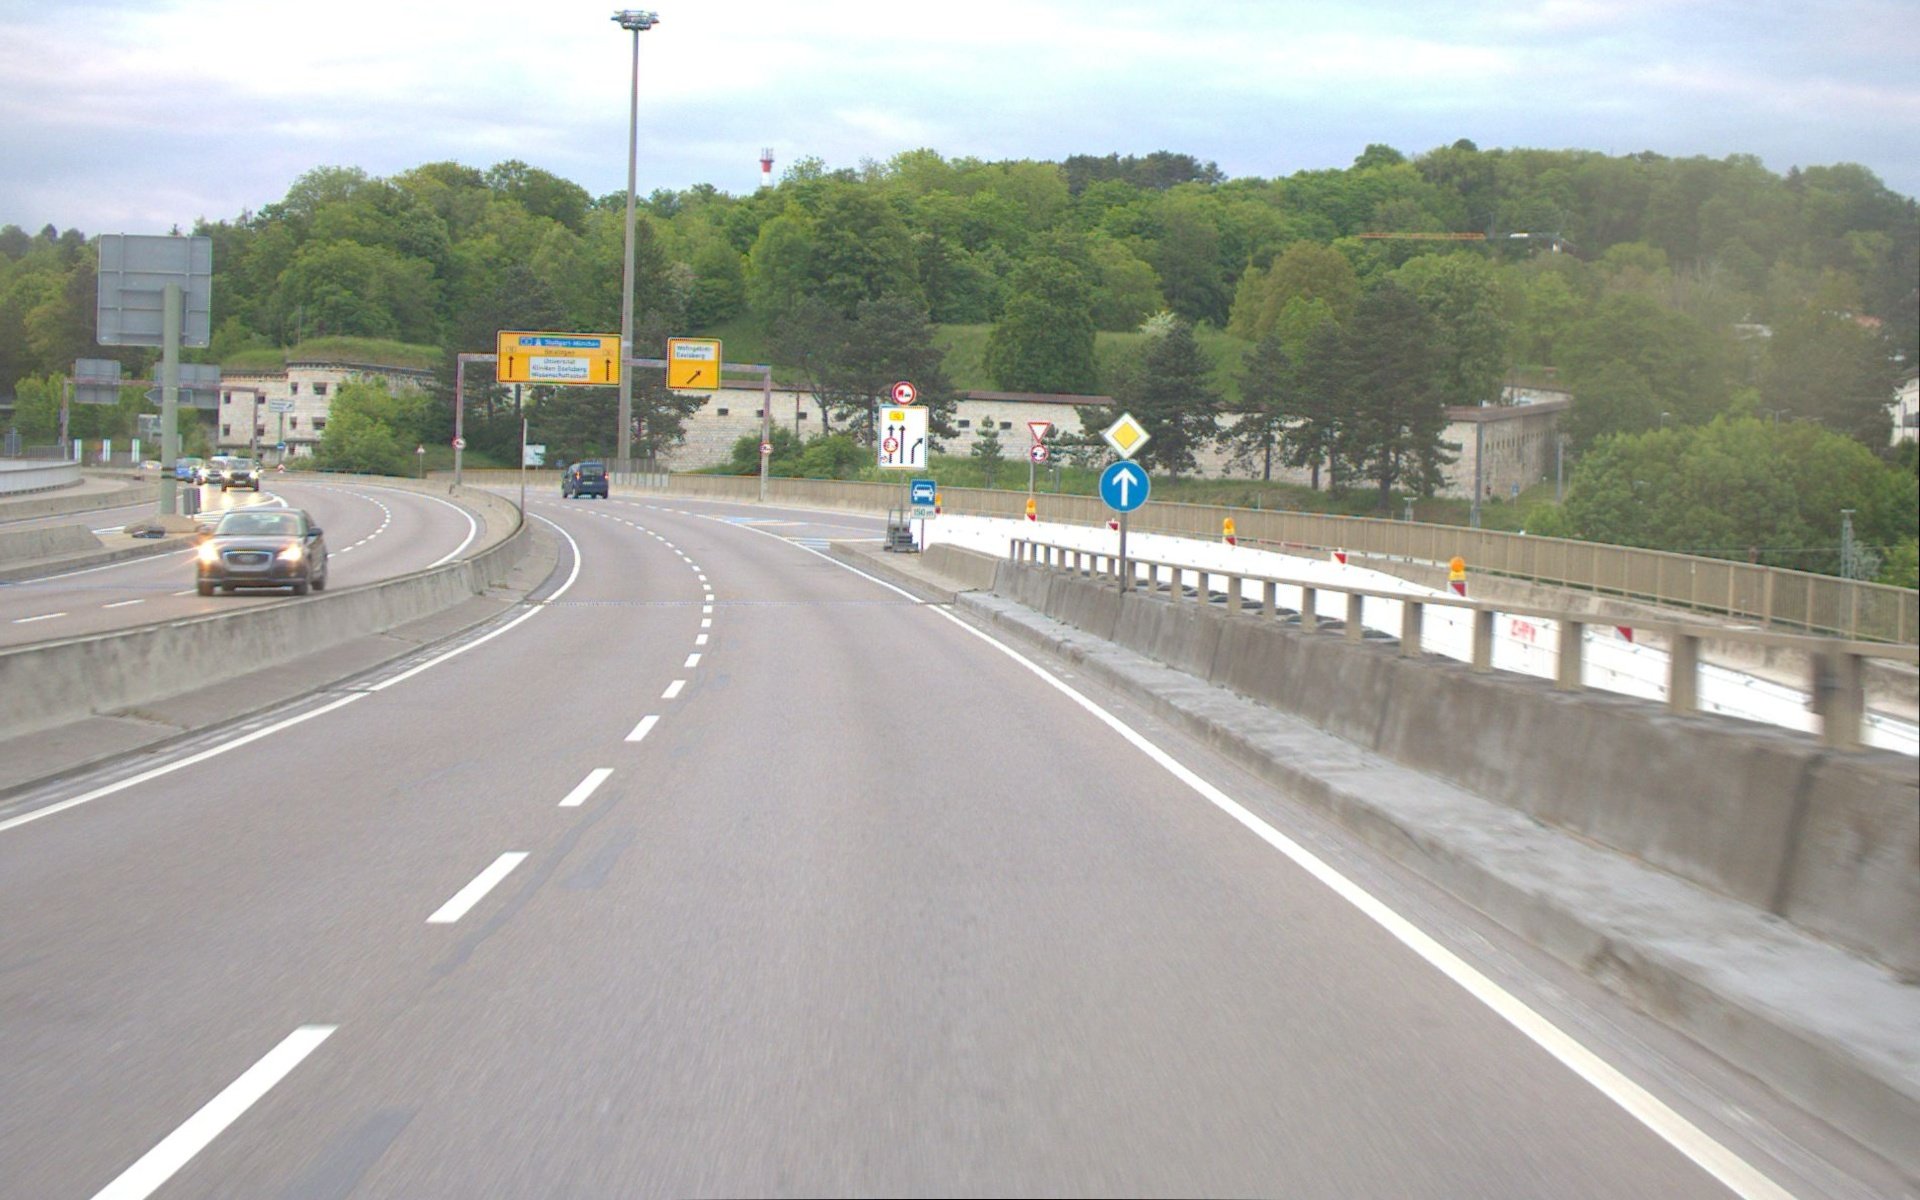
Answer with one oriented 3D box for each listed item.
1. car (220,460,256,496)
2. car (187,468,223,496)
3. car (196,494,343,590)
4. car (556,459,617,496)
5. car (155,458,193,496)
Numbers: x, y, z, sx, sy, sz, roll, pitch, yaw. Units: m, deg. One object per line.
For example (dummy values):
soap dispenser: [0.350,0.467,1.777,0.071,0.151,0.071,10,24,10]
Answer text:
car: [-36.297,-6.123,172.861,1.636,1.711,4.001,-4,2,-11]
car: [-42.420,-6.646,193.214,1.795,1.481,3.843,1,1,-15]
car: [-11.202,-0.943,56.042,1.829,1.475,4.288,1,1,-4]
car: [-19.308,-6.331,177.681,2.304,1.757,4.264,2,2,-17]
car: [-48.345,-7.578,211.551,1.993,2.006,4.002,7,2,-12]
